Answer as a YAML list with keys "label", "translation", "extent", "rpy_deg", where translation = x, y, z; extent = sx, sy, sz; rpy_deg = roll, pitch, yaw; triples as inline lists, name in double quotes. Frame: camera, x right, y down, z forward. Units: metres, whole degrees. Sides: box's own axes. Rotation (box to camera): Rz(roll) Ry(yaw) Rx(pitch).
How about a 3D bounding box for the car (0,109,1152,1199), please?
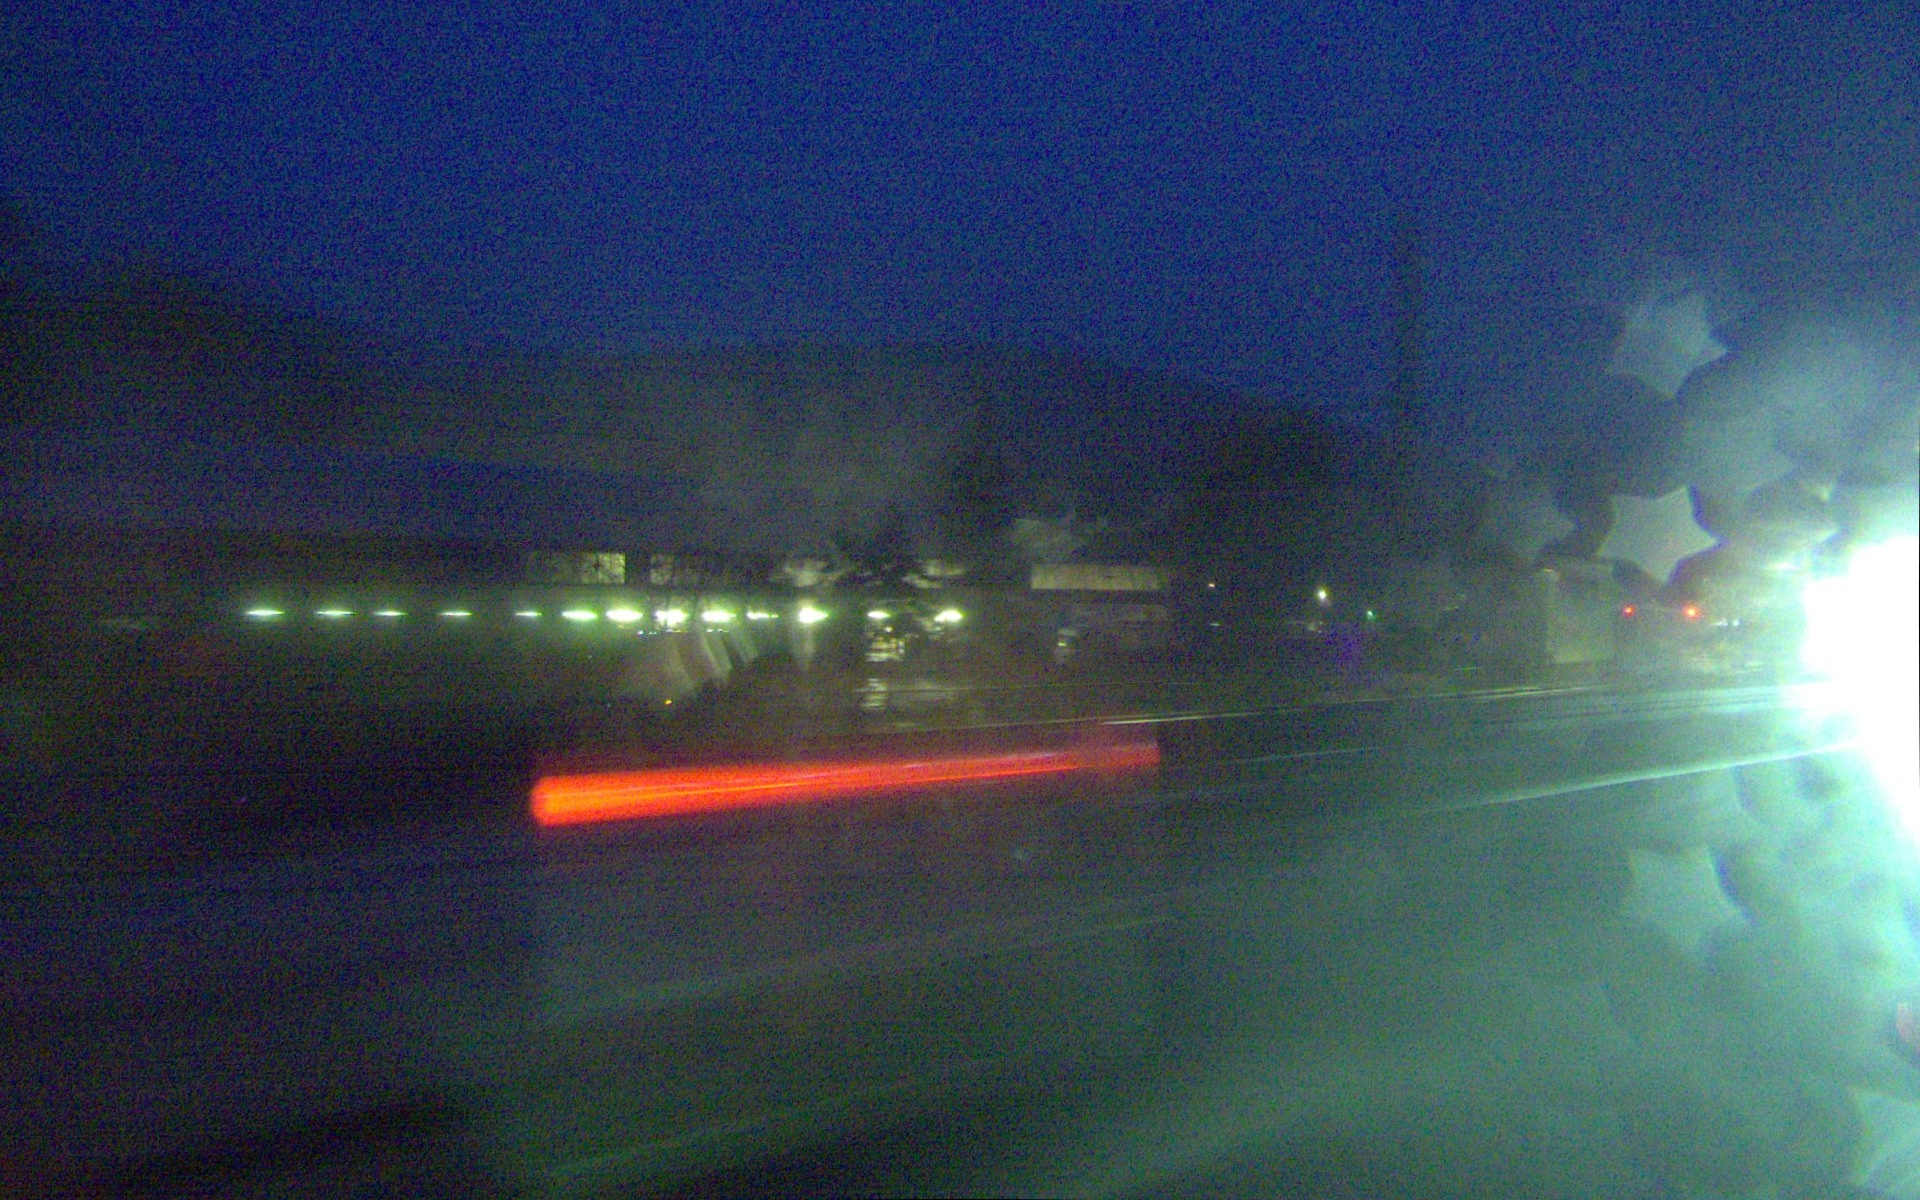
- label: "car"
  translation: [-1.762, 0.386, 2.246]
  extent: [3.952, 2.102, 1.984]
  rpy_deg: [2, -1, -30]
